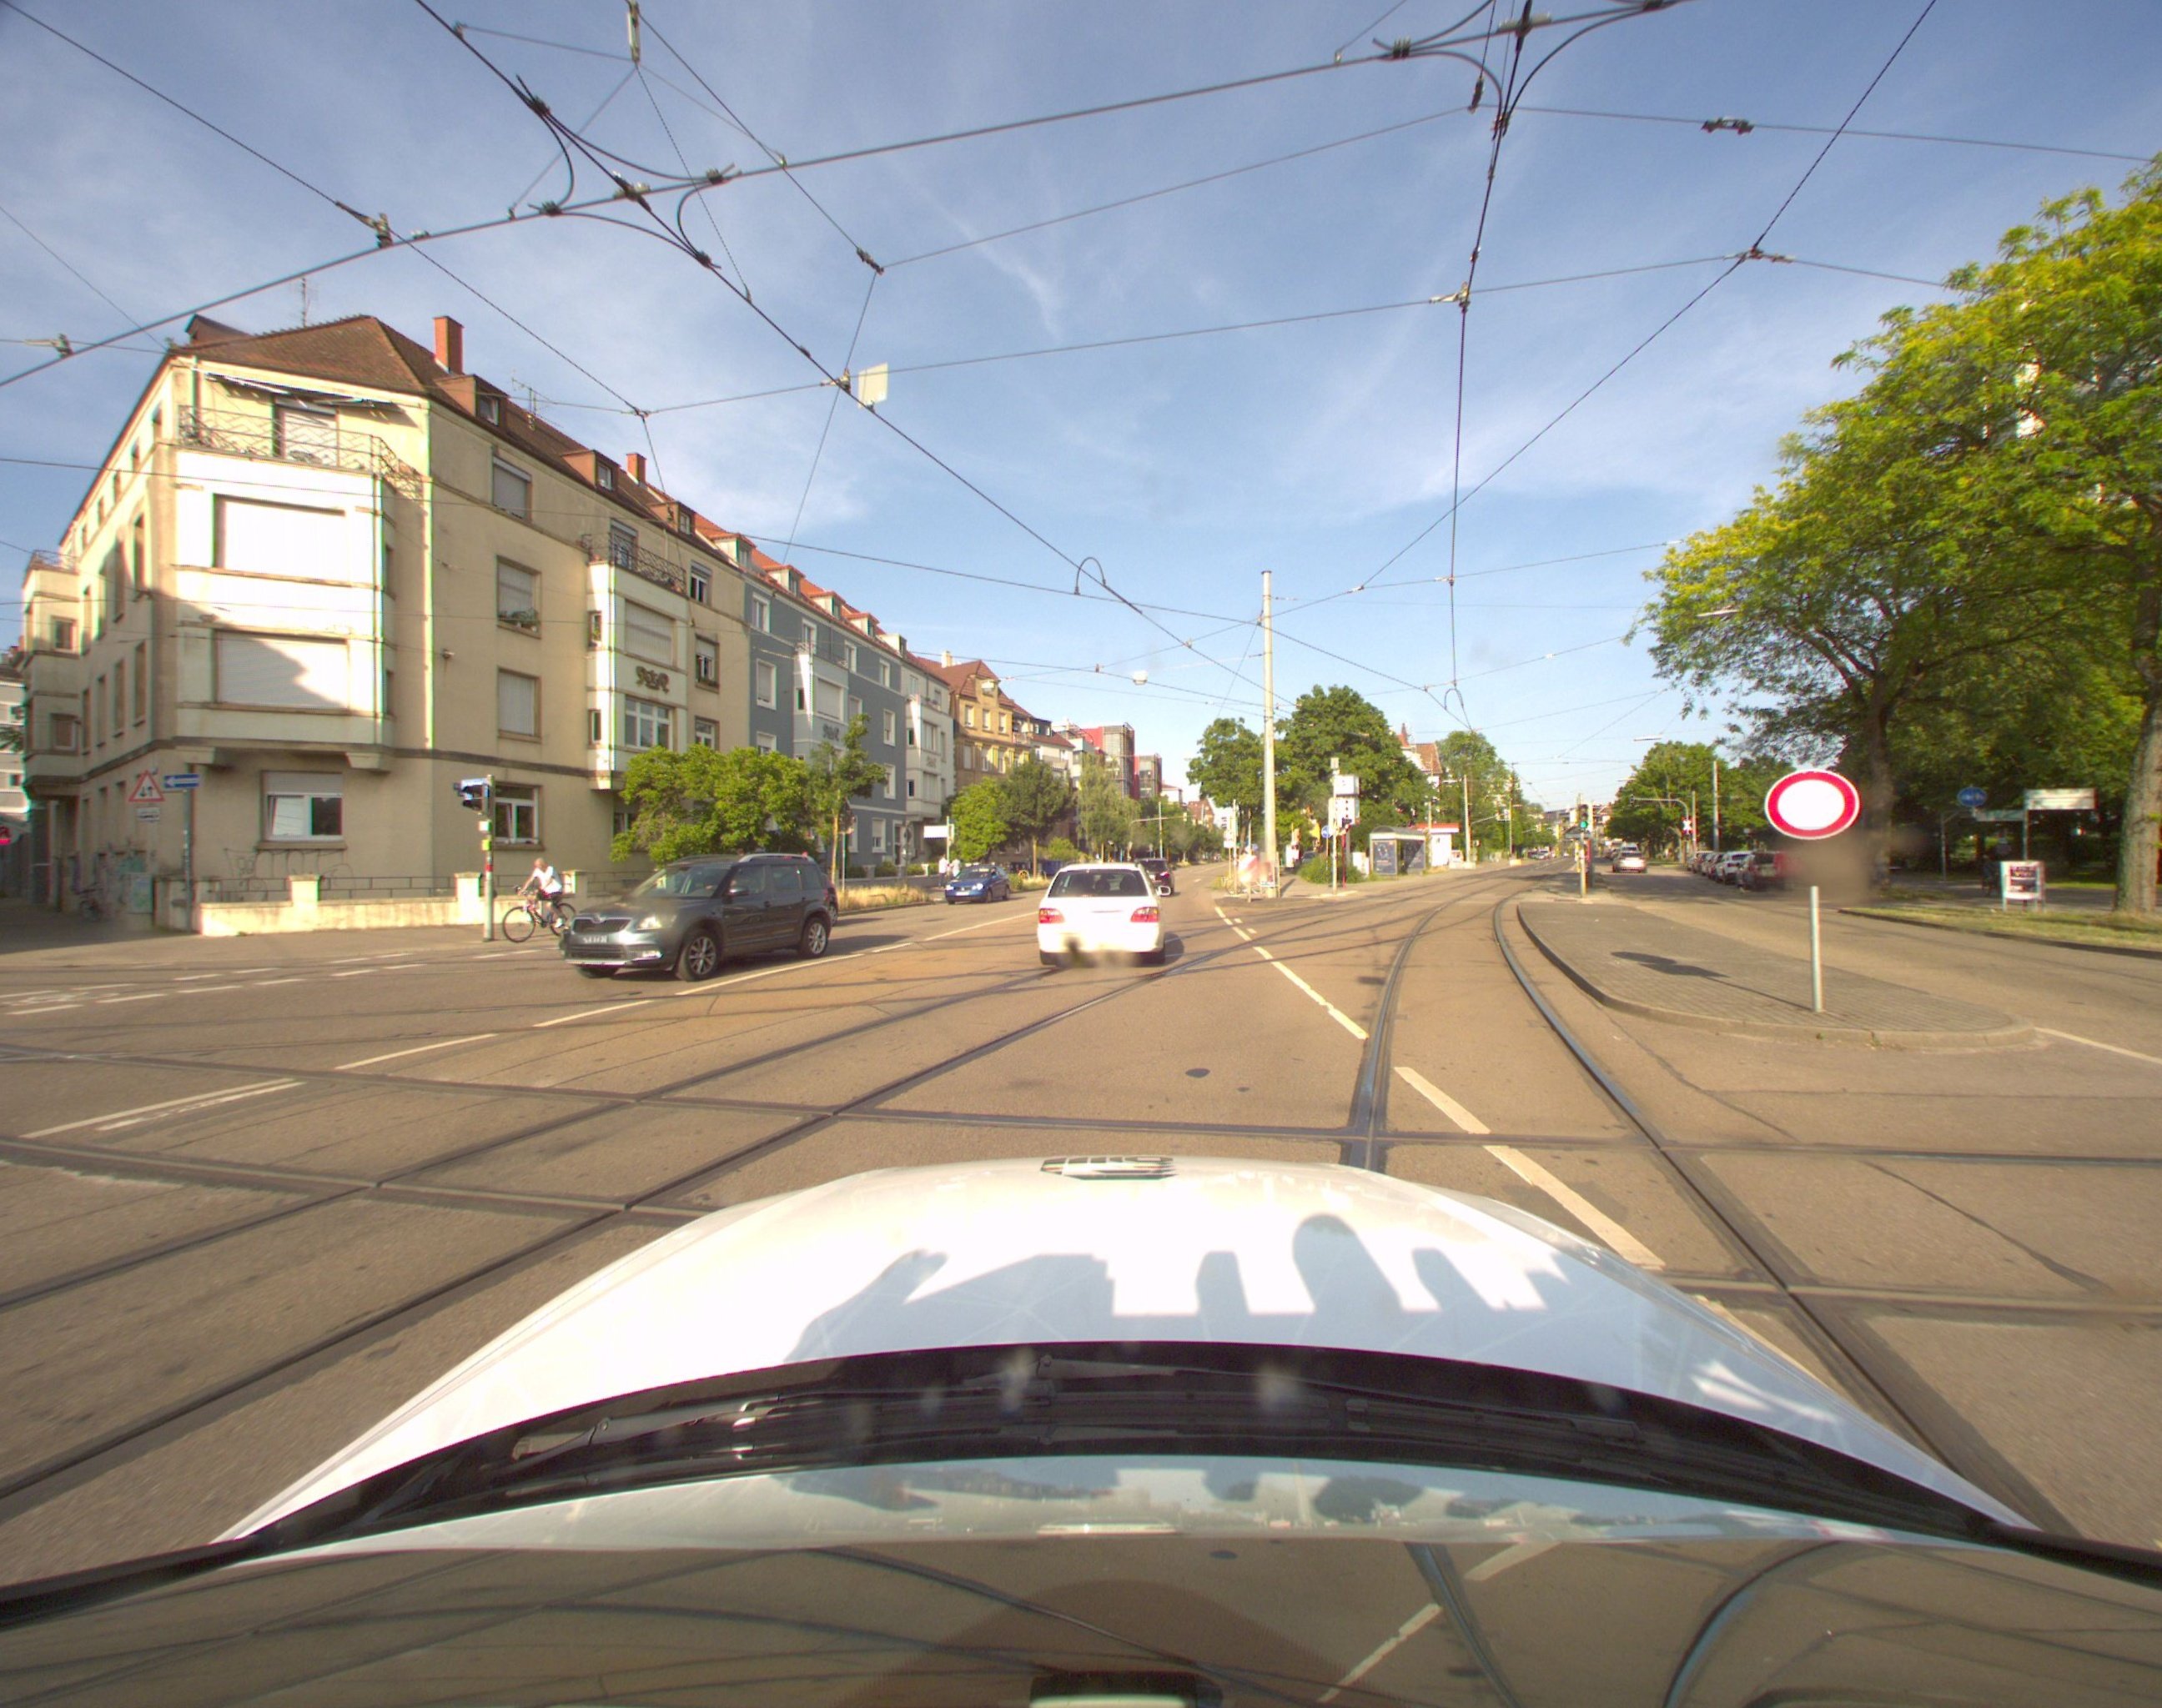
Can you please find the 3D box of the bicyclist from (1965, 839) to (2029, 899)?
[{"bbox_3d":[27.883,0.441,24.814,0.714,1.746,1.145,-4,-1,18],"label":"bicyclist"}]

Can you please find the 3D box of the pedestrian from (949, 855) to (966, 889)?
[{"bbox_3d":[-6.466,0.932,42.723,0.634,1.751,0.914,-1,-1,10],"label":"pedestrian"}]

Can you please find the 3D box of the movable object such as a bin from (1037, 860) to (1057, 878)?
[{"bbox_3d":[-2.777,1.214,66.353,1.598,1.421,1.084,-1,0,0],"label":"movable object such as a bin"}]

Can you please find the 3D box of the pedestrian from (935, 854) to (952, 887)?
[{"bbox_3d":[-7.226,0.856,42.818,0.634,1.751,0.914,-1,-1,10],"label":"pedestrian"}]

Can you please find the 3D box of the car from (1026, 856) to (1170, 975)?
[{"bbox_3d":[0.421,0.814,12.561,1.826,1.501,3.822,1,0,7],"label":"car"}]

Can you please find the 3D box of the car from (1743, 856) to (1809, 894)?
[{"bbox_3d":[29.694,0.873,34.909,1.835,1.515,4.025,-2,-1,37],"label":"car"}]

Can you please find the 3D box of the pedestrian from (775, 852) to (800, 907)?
[{"bbox_3d":[-10.252,0.887,28.425,0.581,1.881,0.628,0,0,11],"label":"pedestrian"}]

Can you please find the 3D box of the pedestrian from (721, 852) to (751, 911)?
[{"bbox_3d":[-11.316,0.892,26.687,0.654,1.881,0.628,0,0,11],"label":"pedestrian"}]

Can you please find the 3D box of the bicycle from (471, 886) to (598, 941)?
[{"bbox_3d":[-11.053,1.180,16.559,0.762,0.965,2.046,-1,0,25],"label":"bicycle"}]

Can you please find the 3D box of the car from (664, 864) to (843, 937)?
[{"bbox_3d":[-7.106,0.948,18.140,1.677,1.420,4.014,-1,-1,13],"label":"car"}]

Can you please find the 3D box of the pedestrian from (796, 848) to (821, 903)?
[{"bbox_3d":[-9.435,0.746,28.229,0.580,1.881,0.629,-1,0,12],"label":"pedestrian"}]

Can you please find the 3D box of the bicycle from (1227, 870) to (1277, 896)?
[{"bbox_3d":[6.981,1.180,33.366,1.903,0.994,0.728,-2,-1,6],"label":"bicycle"}]

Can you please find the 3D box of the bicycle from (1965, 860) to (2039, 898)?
[{"bbox_3d":[27.865,0.732,24.670,0.635,1.088,1.741,-3,-1,17],"label":"bicycle"}]

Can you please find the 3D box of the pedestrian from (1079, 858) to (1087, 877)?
[{"bbox_3d":[0.191,1.279,76.718,0.634,1.751,0.609,-1,-1,10],"label":"pedestrian"}]

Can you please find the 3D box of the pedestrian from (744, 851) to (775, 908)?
[{"bbox_3d":[-10.536,0.836,26.706,0.669,1.848,0.652,-1,0,14],"label":"pedestrian"}]

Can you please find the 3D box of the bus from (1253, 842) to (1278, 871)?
[{"bbox_3d":[16.457,0.246,72.632,1.787,2.413,4.009,2,-1,8],"label":"bus"}]

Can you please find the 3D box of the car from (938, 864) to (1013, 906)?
[{"bbox_3d":[-3.986,1.150,31.474,1.678,1.441,4.012,-1,0,11],"label":"car"}]

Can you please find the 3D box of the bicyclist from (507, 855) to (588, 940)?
[{"bbox_3d":[-10.951,0.858,16.752,0.753,1.668,1.174,-1,0,25],"label":"bicyclist"}]

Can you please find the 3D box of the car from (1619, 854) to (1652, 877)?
[{"bbox_3d":[40.107,0.839,58.963,1.817,1.600,3.839,1,0,33],"label":"car"}]

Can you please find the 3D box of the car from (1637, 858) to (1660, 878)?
[{"bbox_3d":[62.497,1.550,89.713,1.974,2.014,4.025,1,-1,33],"label":"car"}]

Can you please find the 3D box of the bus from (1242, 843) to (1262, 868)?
[{"bbox_3d":[18.513,0.196,88.241,1.787,2.555,4.009,2,-1,9],"label":"bus"}]

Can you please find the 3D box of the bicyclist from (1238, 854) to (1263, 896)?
[{"bbox_3d":[6.926,0.846,33.377,0.894,1.699,0.734,-2,-1,7],"label":"bicyclist"}]

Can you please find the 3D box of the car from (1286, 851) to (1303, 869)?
[{"bbox_3d":[22.959,0.656,87.810,1.733,1.874,4.015,0,-1,14],"label":"car"}]

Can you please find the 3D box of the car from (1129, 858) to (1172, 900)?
[{"bbox_3d":[2.960,0.996,34.028,1.633,1.600,3.822,1,0,7],"label":"car"}]

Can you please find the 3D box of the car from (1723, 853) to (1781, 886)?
[{"bbox_3d":[32.707,0.744,39.779,1.835,1.515,4.025,-2,-1,35],"label":"car"}]

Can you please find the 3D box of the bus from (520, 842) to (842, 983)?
[{"bbox_3d":[-5.407,0.696,11.723,1.830,1.636,4.176,0,0,15],"label":"bus"}]

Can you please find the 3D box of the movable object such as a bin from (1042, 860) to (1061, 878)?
[{"bbox_3d":[-2.423,1.243,67.406,1.529,1.421,1.084,-1,0,0],"label":"movable object such as a bin"}]
